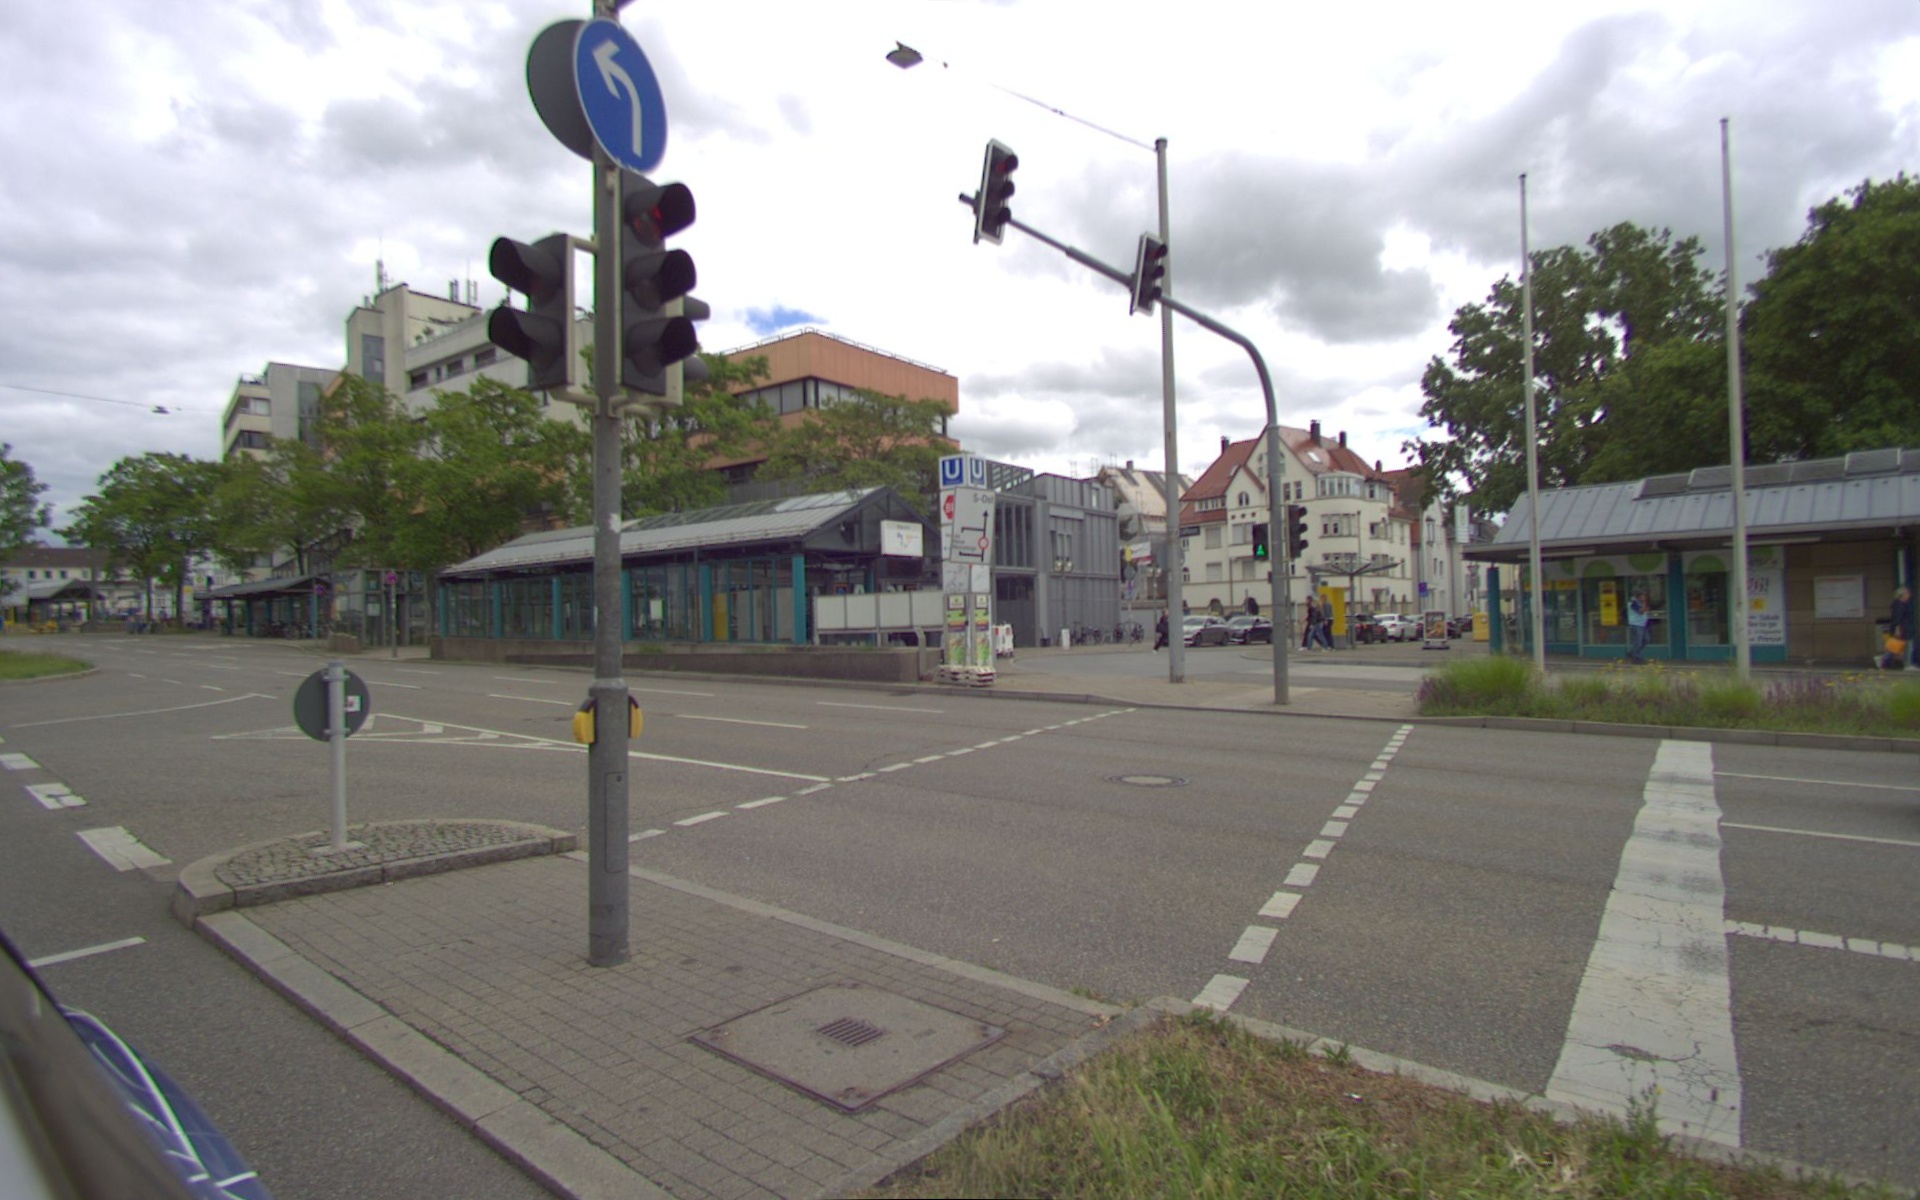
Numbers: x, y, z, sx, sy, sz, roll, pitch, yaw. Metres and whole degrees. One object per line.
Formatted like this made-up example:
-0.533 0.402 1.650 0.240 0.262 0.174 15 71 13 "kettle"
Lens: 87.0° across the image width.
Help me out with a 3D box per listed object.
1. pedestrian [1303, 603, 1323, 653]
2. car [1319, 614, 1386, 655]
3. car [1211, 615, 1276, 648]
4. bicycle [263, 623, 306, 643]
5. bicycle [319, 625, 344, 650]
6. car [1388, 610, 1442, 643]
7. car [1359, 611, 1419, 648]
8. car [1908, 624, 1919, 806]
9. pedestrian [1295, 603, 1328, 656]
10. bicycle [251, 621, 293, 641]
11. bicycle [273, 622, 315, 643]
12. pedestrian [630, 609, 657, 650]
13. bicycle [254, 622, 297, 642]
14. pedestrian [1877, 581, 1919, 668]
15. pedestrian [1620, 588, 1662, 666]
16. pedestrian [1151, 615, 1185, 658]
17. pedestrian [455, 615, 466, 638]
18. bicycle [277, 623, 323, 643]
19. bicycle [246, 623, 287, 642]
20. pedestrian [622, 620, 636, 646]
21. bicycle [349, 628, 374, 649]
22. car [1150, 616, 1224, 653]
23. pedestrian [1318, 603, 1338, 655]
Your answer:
10.995 0.867 31.512 0.378 1.560 0.485 -1 -1 -3 "pedestrian"
18.358 1.575 47.261 1.996 1.696 3.952 -2 0 35 "car"
14.620 1.605 52.071 1.996 1.608 3.951 -1 -1 36 "car"
-40.278 1.974 60.386 0.541 1.098 2.046 -1 0 35 "bicycle"
-31.492 1.873 50.698 1.948 1.234 0.514 -2 0 43 "bicycle"
25.151 1.447 55.899 1.996 1.696 3.952 -2 0 35 "car"
21.972 1.477 51.723 1.996 1.696 3.952 -2 0 35 "car"
8.837 0.866 6.532 3.786 1.476 1.728 -3 -2 39 "car"
10.643 0.891 30.640 0.742 1.560 0.531 -1 -1 -3 "pedestrian"
-42.030 1.877 61.886 0.542 1.147 2.043 -1 0 41 "bicycle"
-39.343 1.914 59.796 0.541 1.147 2.046 -1 0 35 "bicycle"
-13.273 1.220 42.420 0.827 1.692 0.769 -1 -2 43 "pedestrian"
-41.316 1.929 61.087 0.542 1.098 2.043 -1 0 41 "bicycle"
18.463 0.479 19.865 0.658 1.662 0.613 -1 -2 43 "pedestrian"
14.874 0.580 22.115 0.658 1.662 0.613 -1 -2 43 "pedestrian"
7.325 1.282 35.708 0.992 1.472 0.584 -2 -1 41 "pedestrian"
-31.350 1.680 63.492 0.580 1.443 0.456 -1 -2 43 "pedestrian"
-38.642 1.910 59.284 0.541 1.098 2.181 -1 0 35 "bicycle"
-42.766 1.976 62.432 0.542 1.098 2.043 -1 0 41 "bicycle"
-15.157 1.502 46.337 0.514 1.201 0.377 -1 -2 43 "pedestrian"
-30.654 1.973 51.785 2.050 1.034 0.514 -2 0 43 "bicycle"
10.670 1.596 47.449 1.996 1.608 3.951 -1 -1 36 "car"
11.235 0.872 30.911 0.378 1.560 0.485 -1 -1 -3 "pedestrian"
